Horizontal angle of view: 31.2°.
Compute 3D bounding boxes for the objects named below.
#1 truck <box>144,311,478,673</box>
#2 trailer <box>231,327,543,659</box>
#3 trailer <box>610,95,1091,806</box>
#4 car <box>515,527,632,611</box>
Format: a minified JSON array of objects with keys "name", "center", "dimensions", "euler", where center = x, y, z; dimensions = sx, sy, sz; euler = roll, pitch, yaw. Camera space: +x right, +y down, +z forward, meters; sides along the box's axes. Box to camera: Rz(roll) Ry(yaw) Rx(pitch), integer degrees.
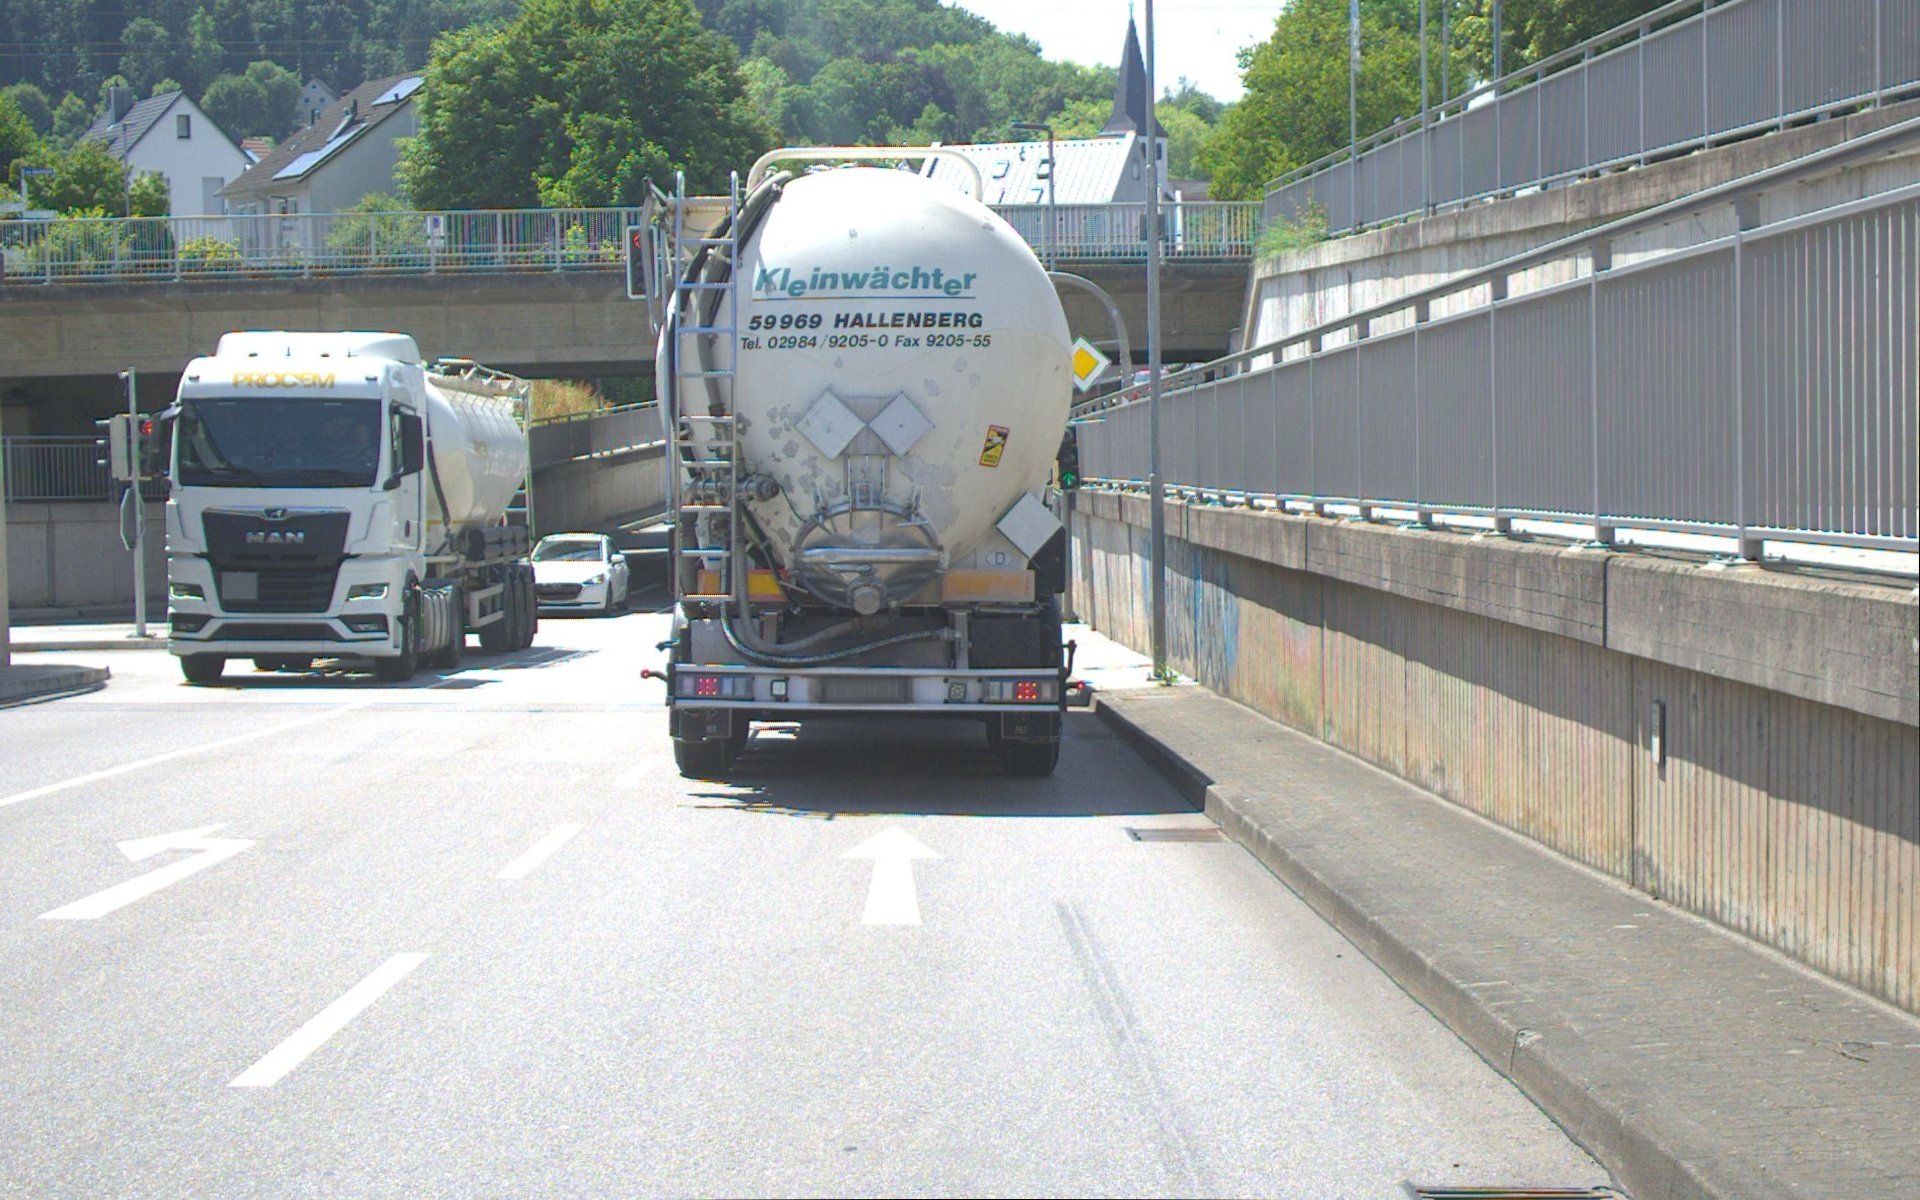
[{"name":"truck","center":[-7.379,-1.199,39.941],"dimensions":[2.662,3.847,6.580],"euler":[0,1,0]},{"name":"trailer","center":[-7.396,-1.343,45.637],"dimensions":[2.610,3.950,9.347],"euler":[0,1,0]},{"name":"trailer","center":[-0.681,-0.948,26.276],"dimensions":[2.735,4.050,13.313],"euler":[0,1,0]},{"name":"car","center":[-7.118,-0.598,63.682],"dimensions":[1.682,1.435,4.094],"euler":[1,1,0]}]
